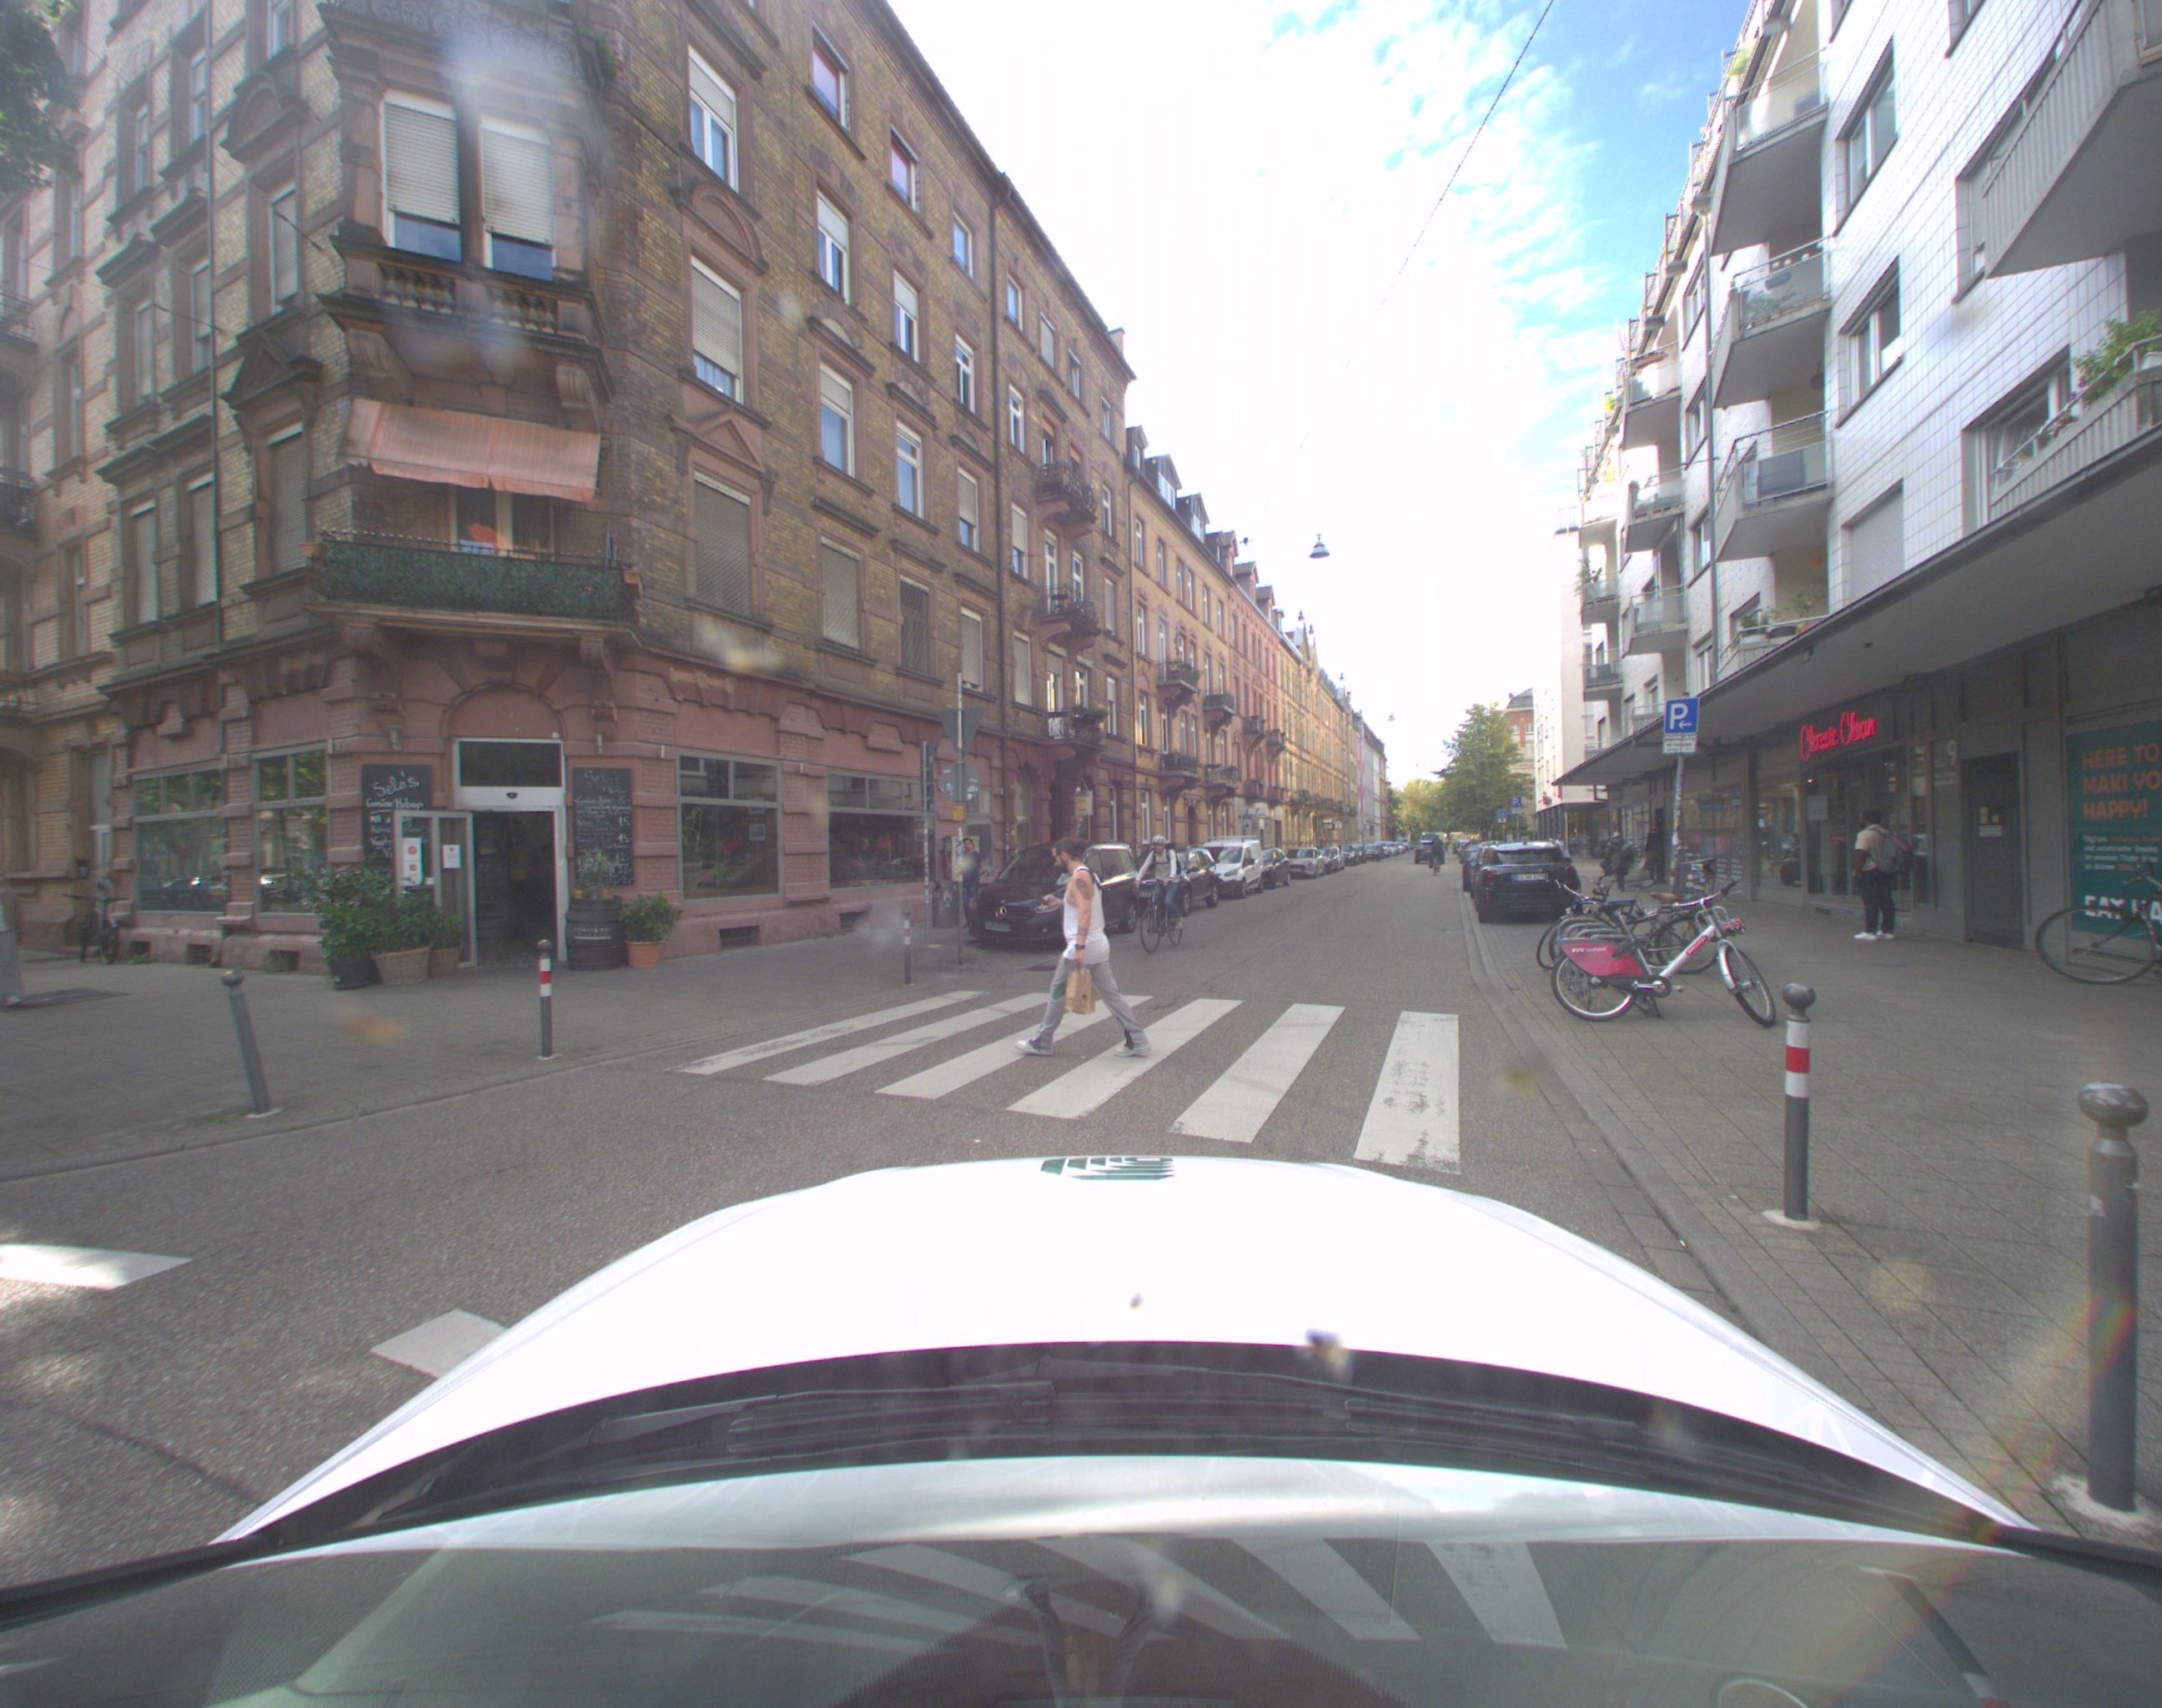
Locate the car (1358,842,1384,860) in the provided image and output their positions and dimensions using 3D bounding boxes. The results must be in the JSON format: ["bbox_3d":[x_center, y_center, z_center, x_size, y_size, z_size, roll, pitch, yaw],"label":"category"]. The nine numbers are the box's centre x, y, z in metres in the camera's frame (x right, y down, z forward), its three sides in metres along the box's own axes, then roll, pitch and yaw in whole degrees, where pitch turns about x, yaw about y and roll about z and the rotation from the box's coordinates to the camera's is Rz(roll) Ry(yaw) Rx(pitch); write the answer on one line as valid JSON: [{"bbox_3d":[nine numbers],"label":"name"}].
[{"bbox_3d":[25.276,-0.280,70.887,1.675,1.369,3.890,3,2,25],"label":"car"}]

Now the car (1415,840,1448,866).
[{"bbox_3d":[24.378,-0.058,56.589,1.947,1.740,4.064,0,0,25],"label":"car"}]

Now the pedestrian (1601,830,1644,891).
[{"bbox_3d":[14.597,0.173,21.977,0.816,1.588,0.785,-2,0,26],"label":"pedestrian"}]

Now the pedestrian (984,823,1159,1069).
[{"bbox_3d":[-0.059,0.632,6.106,1.009,1.671,0.809,-2,0,26],"label":"pedestrian"}]

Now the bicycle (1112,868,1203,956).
[{"bbox_3d":[1.287,0.906,13.273,0.694,1.220,2.129,-3,0,26],"label":"bicycle"}]

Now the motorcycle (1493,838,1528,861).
[{"bbox_3d":[30.950,-0.312,58.663,2.130,1.530,0.690,-4,0,29],"label":"motorcycle"}]

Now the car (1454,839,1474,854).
[{"bbox_3d":[43.417,-0.873,92.339,1.913,1.638,4.023,0,1,25],"label":"car"}]

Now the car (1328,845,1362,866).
[{"bbox_3d":[18.169,0.057,55.990,1.674,1.386,3.890,0,0,25],"label":"car"}]

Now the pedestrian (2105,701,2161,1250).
[{"bbox_3d":[3.824,0.401,2.170,0.876,1.834,1.052,-4,-1,22],"label":"pedestrian"}]

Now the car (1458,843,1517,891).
[{"bbox_3d":[13.574,0.398,27.278,1.581,1.439,4.054,-2,0,26],"label":"car"}]

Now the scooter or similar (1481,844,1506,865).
[{"bbox_3d":[24.253,0.040,47.903,0.380,1.147,1.196,-4,0,-33],"label":"scooter or similar"}]

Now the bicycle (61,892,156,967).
[{"bbox_3d":[-15.398,1.166,12.885,1.761,1.067,0.531,0,0,25],"label":"bicycle"}]

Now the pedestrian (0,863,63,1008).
[{"bbox_3d":[-12.344,0.914,9.338,0.799,1.577,0.619,0,4,30],"label":"pedestrian"}]

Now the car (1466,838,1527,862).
[{"bbox_3d":[31.108,-0.306,61.123,3.733,1.546,1.737,-3,-2,14],"label":"car"}]

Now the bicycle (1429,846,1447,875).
[{"bbox_3d":[16.378,0.296,37.331,0.711,1.274,1.895,0,1,26],"label":"bicycle"}]

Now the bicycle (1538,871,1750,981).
[{"bbox_3d":[6.081,0.784,8.889,1.775,1.070,0.571,-3,0,14],"label":"bicycle"}]

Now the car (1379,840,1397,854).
[{"bbox_3d":[35.230,-0.820,93.491,1.675,1.550,3.889,0,1,24],"label":"car"}]

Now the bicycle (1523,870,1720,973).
[{"bbox_3d":[6.236,0.784,9.485,1.775,1.070,0.589,-3,0,14],"label":"bicycle"}]

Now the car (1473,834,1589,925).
[{"bbox_3d":[9.202,0.454,16.947,1.776,1.605,3.947,-4,-1,25],"label":"car"}]

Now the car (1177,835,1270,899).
[{"bbox_3d":[4.687,0.351,26.331,1.902,1.871,4.462,-1,1,24],"label":"car"}]

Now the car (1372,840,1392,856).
[{"bbox_3d":[30.470,-0.655,82.452,1.675,1.550,3.889,1,1,24],"label":"car"}]

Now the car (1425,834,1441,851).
[{"bbox_3d":[42.488,-1.372,98.186,1.766,2.019,3.910,0,1,24],"label":"car"}]

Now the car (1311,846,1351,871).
[{"bbox_3d":[14.783,0.253,48.061,1.674,1.386,3.890,0,0,25],"label":"car"}]

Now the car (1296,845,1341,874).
[{"bbox_3d":[12.910,0.272,44.161,1.726,1.483,4.007,0,0,25],"label":"car"}]

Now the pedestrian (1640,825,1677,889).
[{"bbox_3d":[17.127,0.072,24.159,0.647,1.860,0.702,-1,0,-36],"label":"pedestrian"}]

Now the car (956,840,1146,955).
[{"bbox_3d":[-0.351,0.643,15.025,1.744,1.773,4.430,1,1,24],"label":"car"}]

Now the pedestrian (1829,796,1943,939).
[{"bbox_3d":[10.379,0.173,10.537,0.707,1.747,0.821,-4,-1,23],"label":"pedestrian"}]

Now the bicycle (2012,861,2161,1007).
[{"bbox_3d":[8.774,0.611,6.700,0.735,1.015,1.793,-4,-1,24],"label":"bicycle"}]

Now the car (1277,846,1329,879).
[{"bbox_3d":[10.825,0.377,39.537,1.726,1.483,4.007,0,0,25],"label":"car"}]

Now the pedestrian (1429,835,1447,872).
[{"bbox_3d":[16.329,-0.029,37.233,0.711,1.650,0.936,0,1,25],"label":"pedestrian"}]

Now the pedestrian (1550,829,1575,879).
[{"bbox_3d":[16.899,-0.014,28.601,0.606,1.726,1.133,-2,0,26],"label":"pedestrian"}]

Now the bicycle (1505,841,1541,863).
[{"bbox_3d":[25.726,-0.092,47.456,1.749,1.162,0.654,-4,0,27],"label":"bicycle"}]

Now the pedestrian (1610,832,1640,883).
[{"bbox_3d":[17.488,0.103,26.204,0.638,1.588,0.785,-3,-1,26],"label":"pedestrian"}]

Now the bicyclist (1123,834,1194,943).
[{"bbox_3d":[1.282,0.543,13.300,0.694,1.677,1.119,-3,0,26],"label":"bicyclist"}]

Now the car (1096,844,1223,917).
[{"bbox_3d":[2.099,0.586,20.620,1.976,1.638,4.169,0,1,24],"label":"car"}]

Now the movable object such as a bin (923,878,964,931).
[{"bbox_3d":[-1.961,0.717,11.618,0.379,0.714,0.478,0,1,20],"label":"movable object such as a bin"}]

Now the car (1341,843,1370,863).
[{"bbox_3d":[20.844,-0.071,61.773,1.674,1.437,3.890,0,0,25],"label":"car"}]

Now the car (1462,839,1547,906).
[{"bbox_3d":[11.052,0.444,21.476,1.673,1.577,3.924,-2,0,23],"label":"car"}]

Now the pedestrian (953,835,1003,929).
[{"bbox_3d":[-2.084,0.541,16.514,0.671,1.840,0.862,1,1,19],"label":"pedestrian"}]

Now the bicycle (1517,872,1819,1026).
[{"bbox_3d":[4.854,0.787,6.932,1.866,1.125,0.912,-4,-1,22],"label":"bicycle"}]

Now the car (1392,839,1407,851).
[{"bbox_3d":[41.959,-1.129,107.294,1.675,1.550,3.889,0,1,24],"label":"car"}]

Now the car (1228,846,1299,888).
[{"bbox_3d":[7.084,0.458,31.378,1.725,1.483,4.007,0,1,27],"label":"car"}]
